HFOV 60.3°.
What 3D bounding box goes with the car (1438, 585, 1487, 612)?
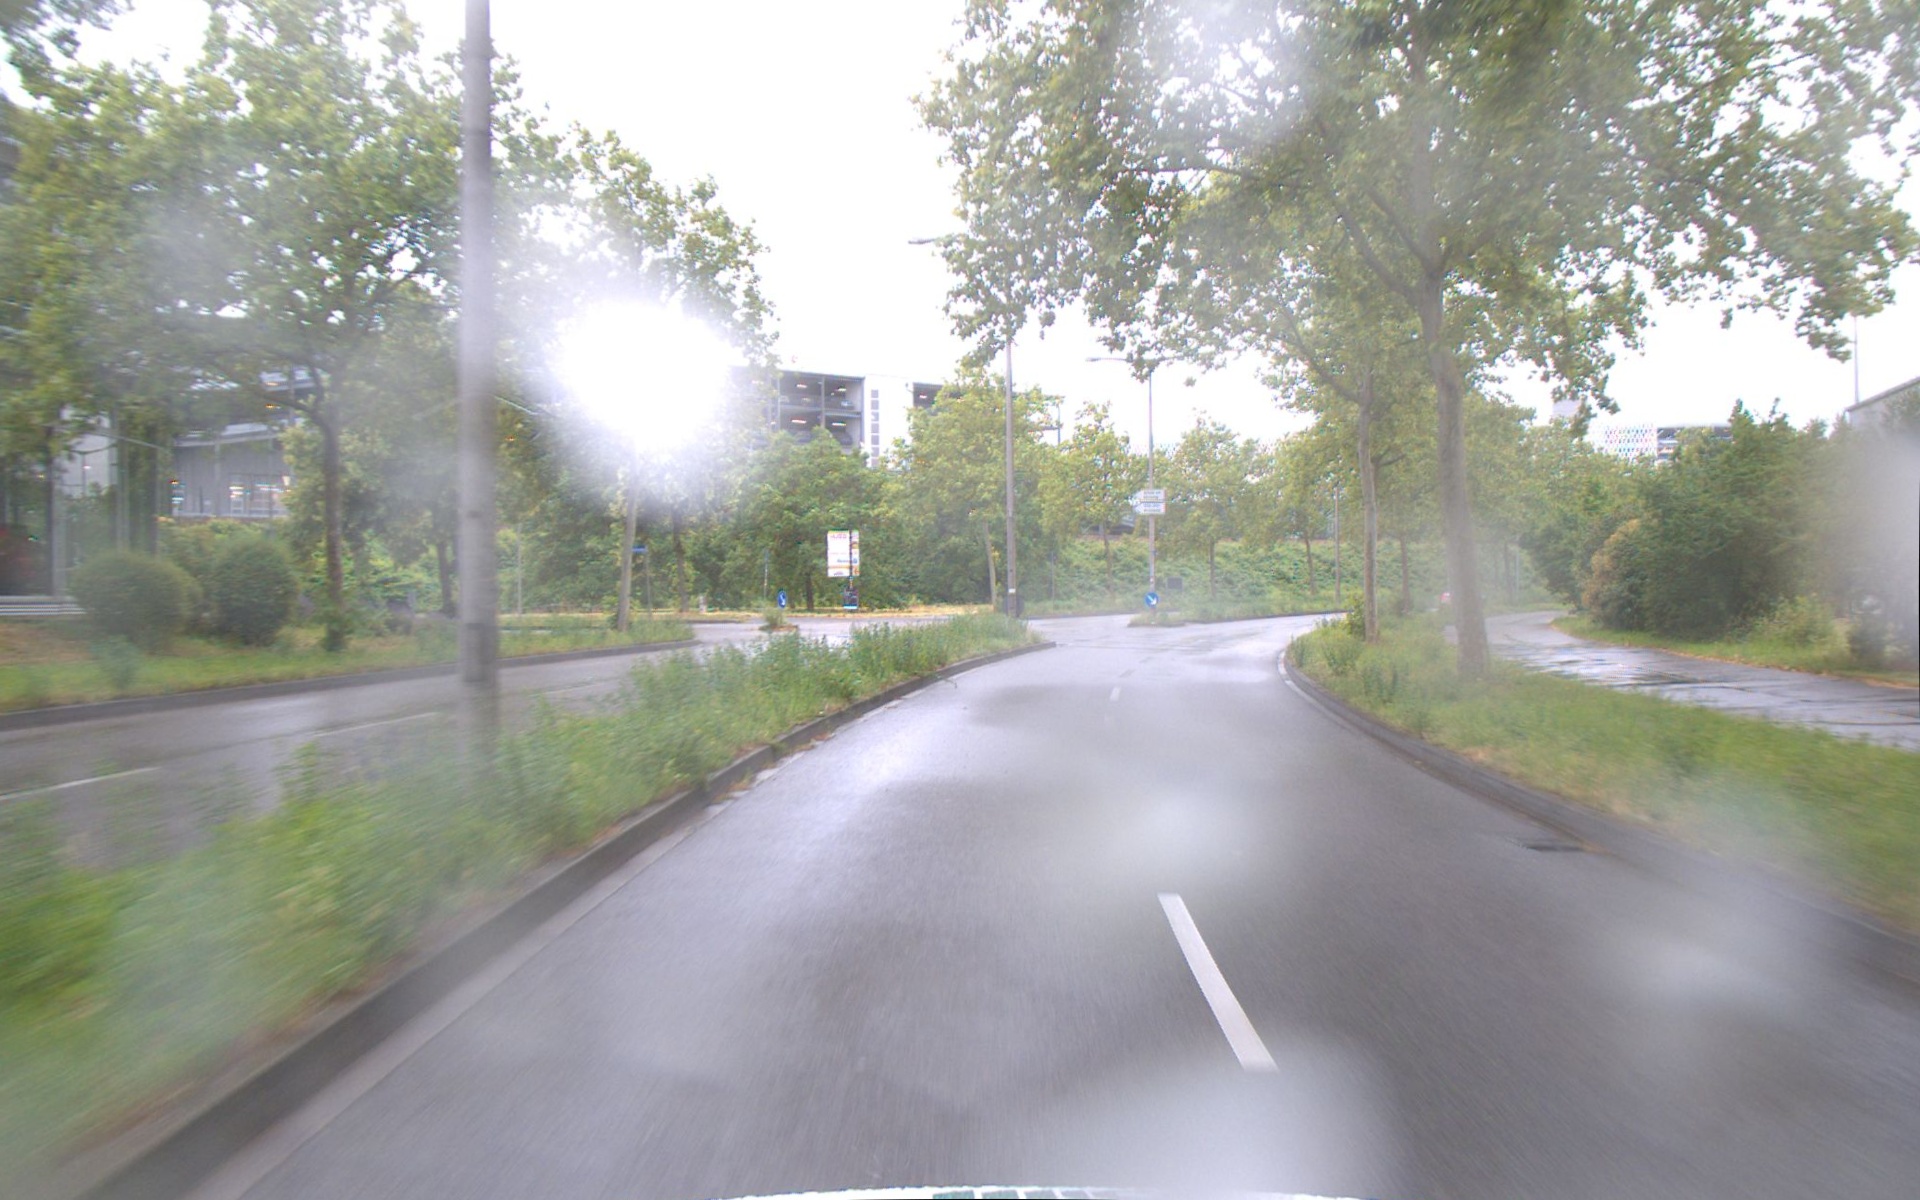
[{"bbox_3d":[31.775,-0.090,104.533,1.750,1.582,3.985,2,2,36],"label":"car"}]
